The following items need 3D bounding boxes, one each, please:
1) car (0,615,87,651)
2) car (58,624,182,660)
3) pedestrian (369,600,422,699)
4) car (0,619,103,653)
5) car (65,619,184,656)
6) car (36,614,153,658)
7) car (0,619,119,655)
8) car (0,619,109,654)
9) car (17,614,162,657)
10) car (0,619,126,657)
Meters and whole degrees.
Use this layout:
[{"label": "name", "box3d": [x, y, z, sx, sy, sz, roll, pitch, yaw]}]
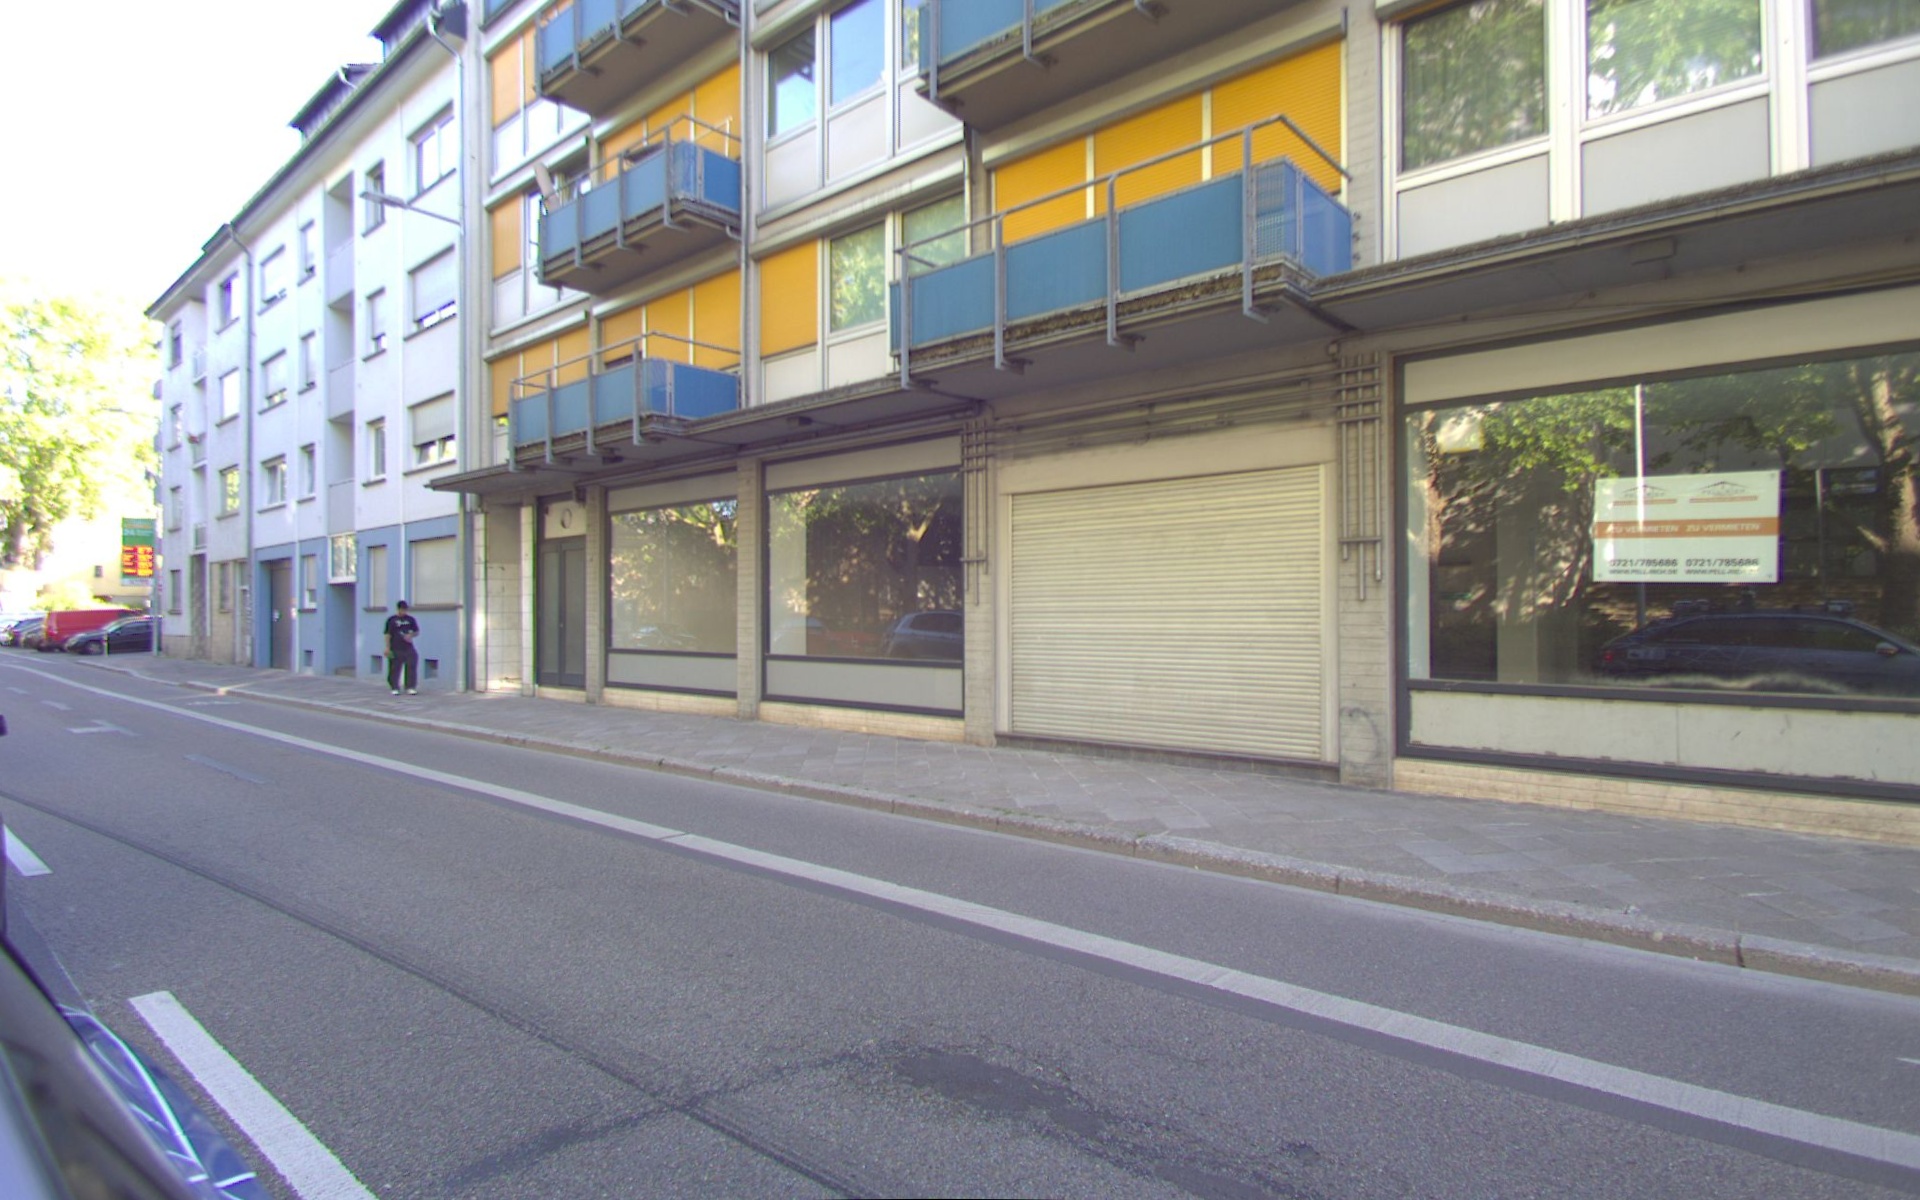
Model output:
[{"label": "car", "box3d": [-59.330, 2.098, 64.716, 2.186, 2.164, 5.077, -1, -1, 41]}, {"label": "car", "box3d": [-36.539, 1.787, 44.079, 1.742, 1.431, 3.946, -1, -1, 41]}, {"label": "pedestrian", "box3d": [-10.441, 0.898, 18.719, 0.793, 1.785, 0.654, -2, -1, 44]}, {"label": "car", "box3d": [-55.956, 2.158, 61.990, 2.314, 1.952, 4.978, -1, -1, 41]}, {"label": "car", "box3d": [-37.864, 1.677, 45.944, 1.742, 1.572, 3.946, -1, -1, 41]}, {"label": "car", "box3d": [-40.576, 1.633, 47.518, 1.866, 1.952, 3.946, -1, -1, 41]}, {"label": "car", "box3d": [-52.222, 2.109, 58.721, 2.159, 1.952, 4.990, -1, -1, 41]}, {"label": "car", "box3d": [-54.108, 2.130, 60.358, 2.082, 1.952, 4.928, -1, -1, 41]}, {"label": "car", "box3d": [-42.677, 1.700, 49.716, 2.256, 1.995, 5.156, -1, -1, 41]}, {"label": "car", "box3d": [-50.283, 2.086, 56.833, 2.186, 1.952, 5.077, -1, -1, 41]}]
